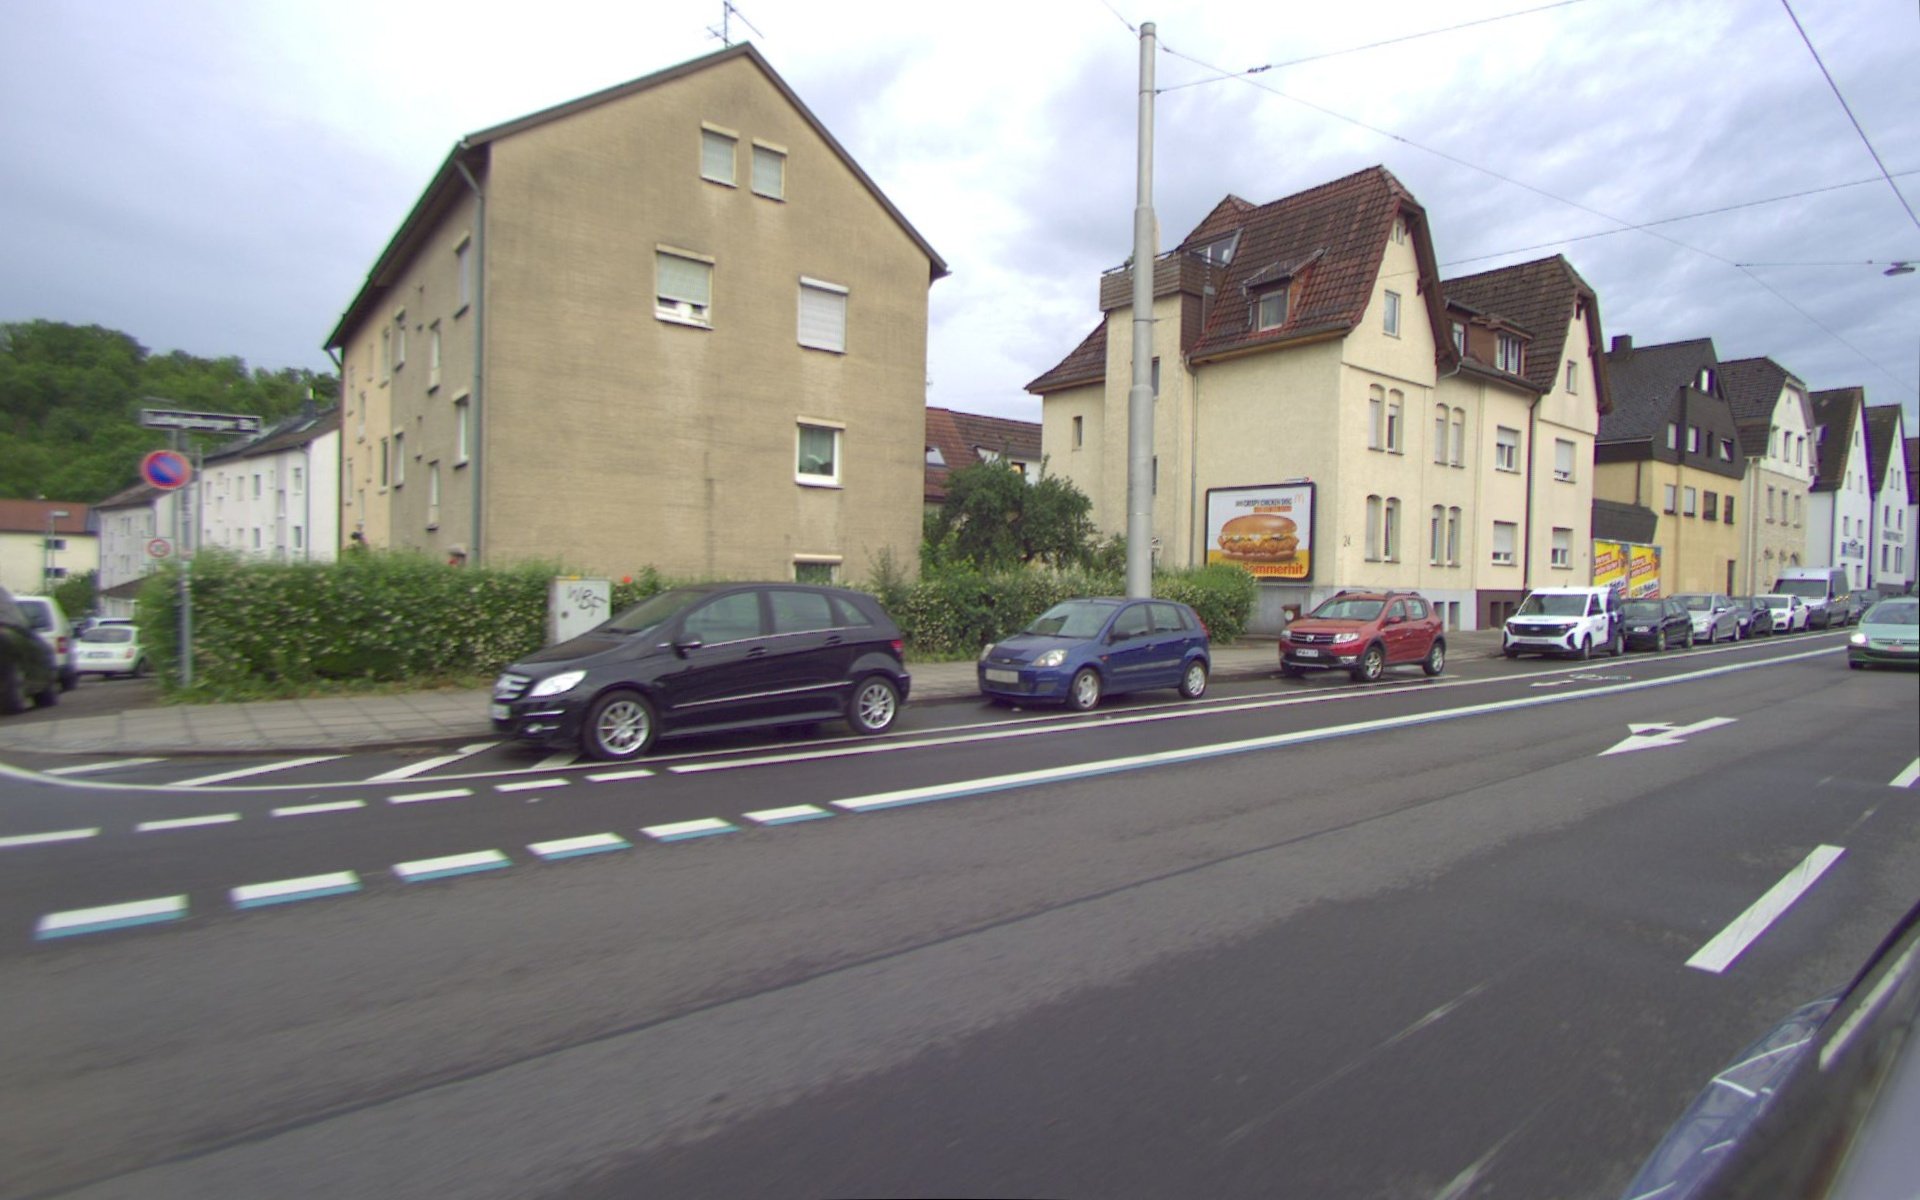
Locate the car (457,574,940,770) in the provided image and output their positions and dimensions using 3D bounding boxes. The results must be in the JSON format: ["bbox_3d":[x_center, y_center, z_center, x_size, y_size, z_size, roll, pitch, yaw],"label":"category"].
[{"bbox_3d":[-2.453,0.573,10.185,4.362,1.553,1.840,0,0,-41],"label":"car"}]

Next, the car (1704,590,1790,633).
[{"bbox_3d":[27.624,0.356,35.494,3.724,1.419,1.604,-1,0,-39],"label":"car"}]

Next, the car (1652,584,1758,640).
[{"bbox_3d":[23.527,0.334,31.922,4.206,1.586,1.705,-2,1,-39],"label":"car"}]

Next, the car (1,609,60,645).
[{"bbox_3d":[-47.348,1.331,51.539,4.224,1.705,1.805,1,0,42],"label":"car"}]

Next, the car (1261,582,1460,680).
[{"bbox_3d":[7.591,0.503,19.023,4.028,1.648,1.840,0,0,-41],"label":"car"}]

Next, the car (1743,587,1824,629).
[{"bbox_3d":[31.321,0.274,38.447,4.125,1.483,1.604,-1,1,-39],"label":"car"}]

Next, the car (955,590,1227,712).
[{"bbox_3d":[1.911,0.595,14.087,3.862,1.462,1.669,-1,0,-42],"label":"car"}]

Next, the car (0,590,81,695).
[{"bbox_3d":[-18.153,0.794,19.442,1.847,1.817,4.280,-1,0,-41],"label":"car"}]

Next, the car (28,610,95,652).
[{"bbox_3d":[-40.375,1.350,45.461,4.224,1.705,1.805,1,0,42],"label":"car"}]

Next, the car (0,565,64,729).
[{"bbox_3d":[-11.775,0.544,11.604,1.845,1.676,4.285,-2,0,-37],"label":"car"}]

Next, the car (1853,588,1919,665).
[{"bbox_3d":[20.541,0.513,21.465,4.128,1.467,1.886,-2,1,-41],"label":"car"}]

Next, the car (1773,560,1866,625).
[{"bbox_3d":[35.683,-0.364,41.950,5.817,2.530,2.043,-2,1,-40],"label":"car"}]

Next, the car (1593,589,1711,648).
[{"bbox_3d":[19.515,0.460,28.483,4.063,1.531,1.690,-1,0,-39],"label":"car"}]

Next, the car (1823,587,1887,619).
[{"bbox_3d":[40.883,0.113,46.200,4.014,1.362,1.725,-2,1,-41],"label":"car"}]

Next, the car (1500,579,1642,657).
[{"bbox_3d":[15.208,0.390,25.090,4.445,1.779,1.849,0,0,-42],"label":"car"}]
